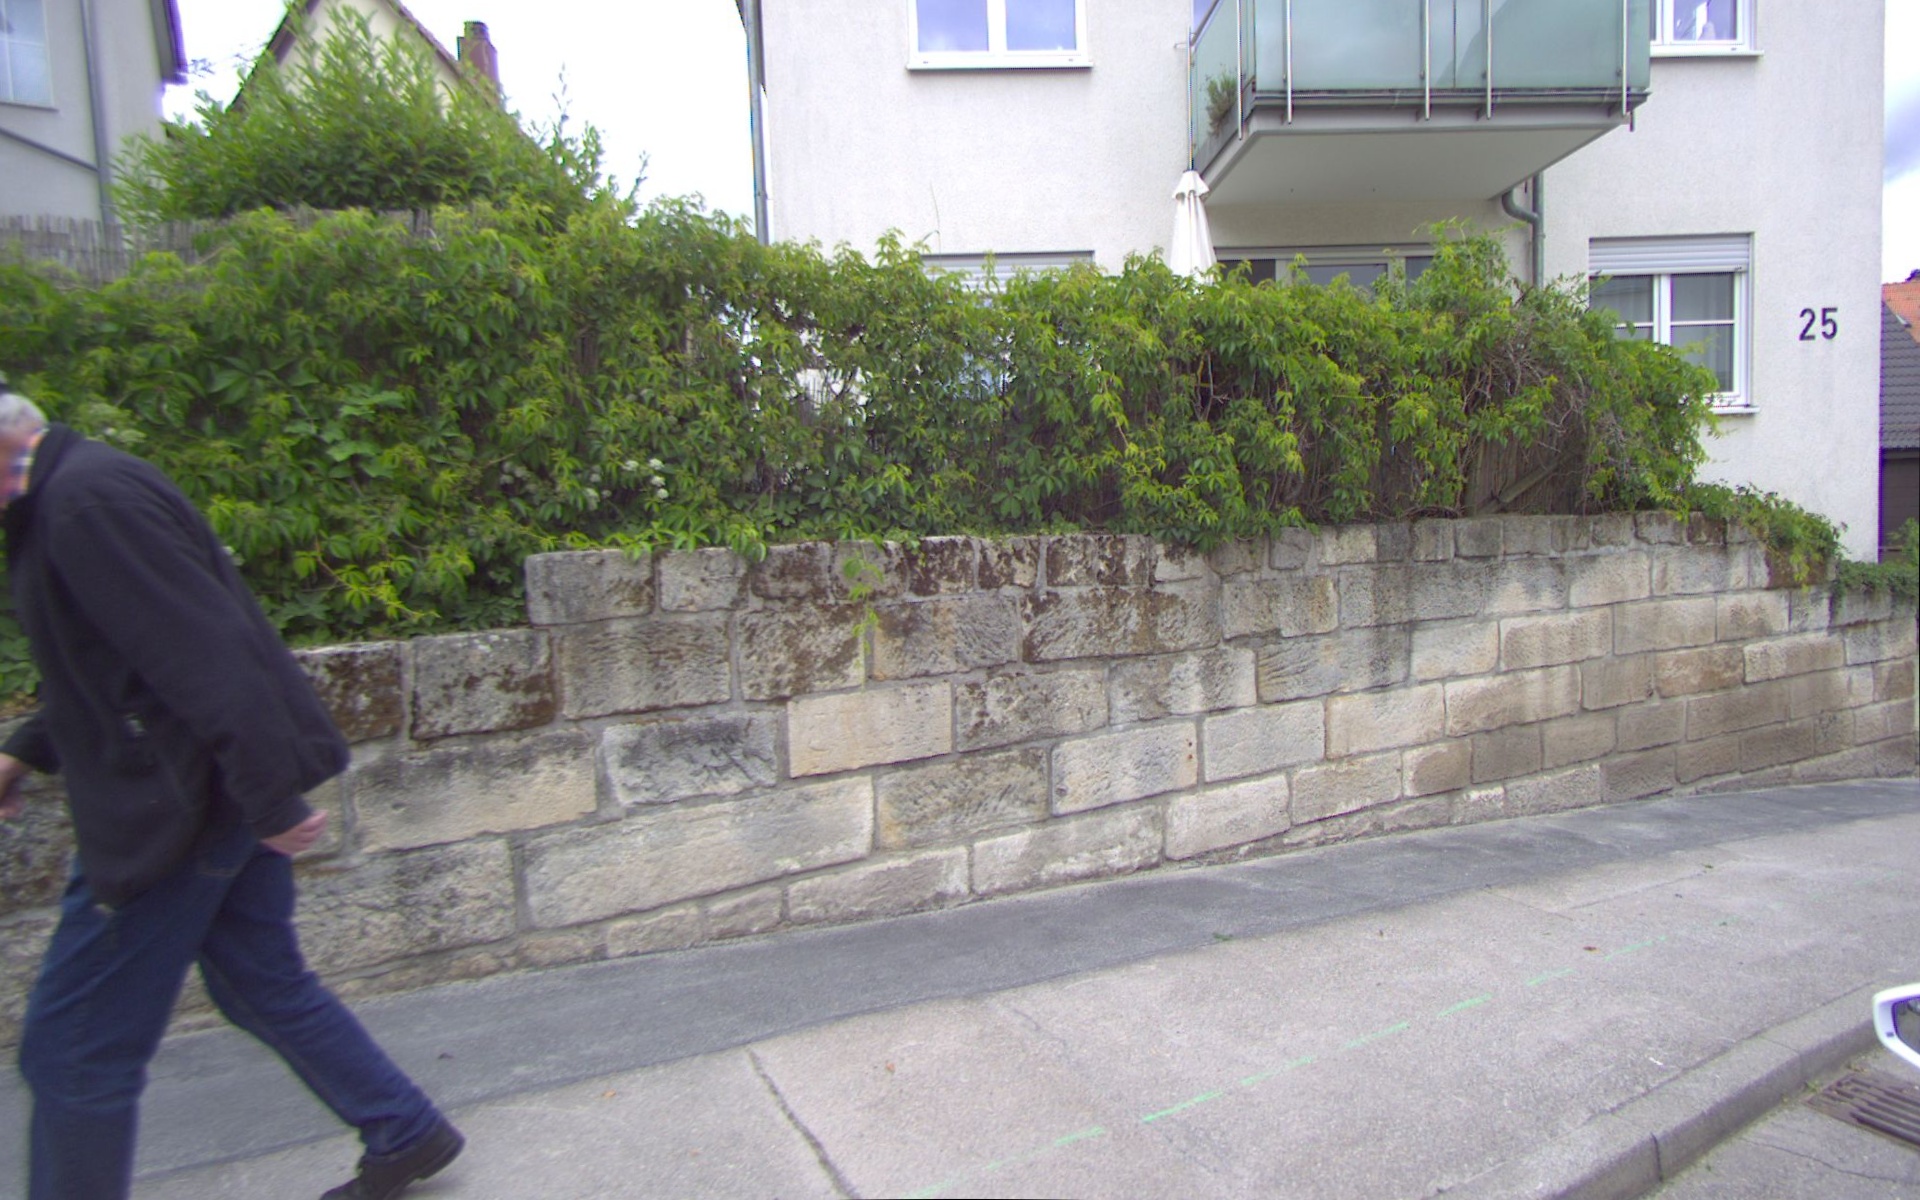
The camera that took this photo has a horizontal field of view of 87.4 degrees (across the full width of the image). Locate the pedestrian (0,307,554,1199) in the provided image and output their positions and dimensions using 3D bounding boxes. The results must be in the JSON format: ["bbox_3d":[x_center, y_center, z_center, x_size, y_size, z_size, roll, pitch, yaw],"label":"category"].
[{"bbox_3d":[-1.352,0.425,1.887,0.965,1.700,0.835,0,4,-31],"label":"pedestrian"}]
